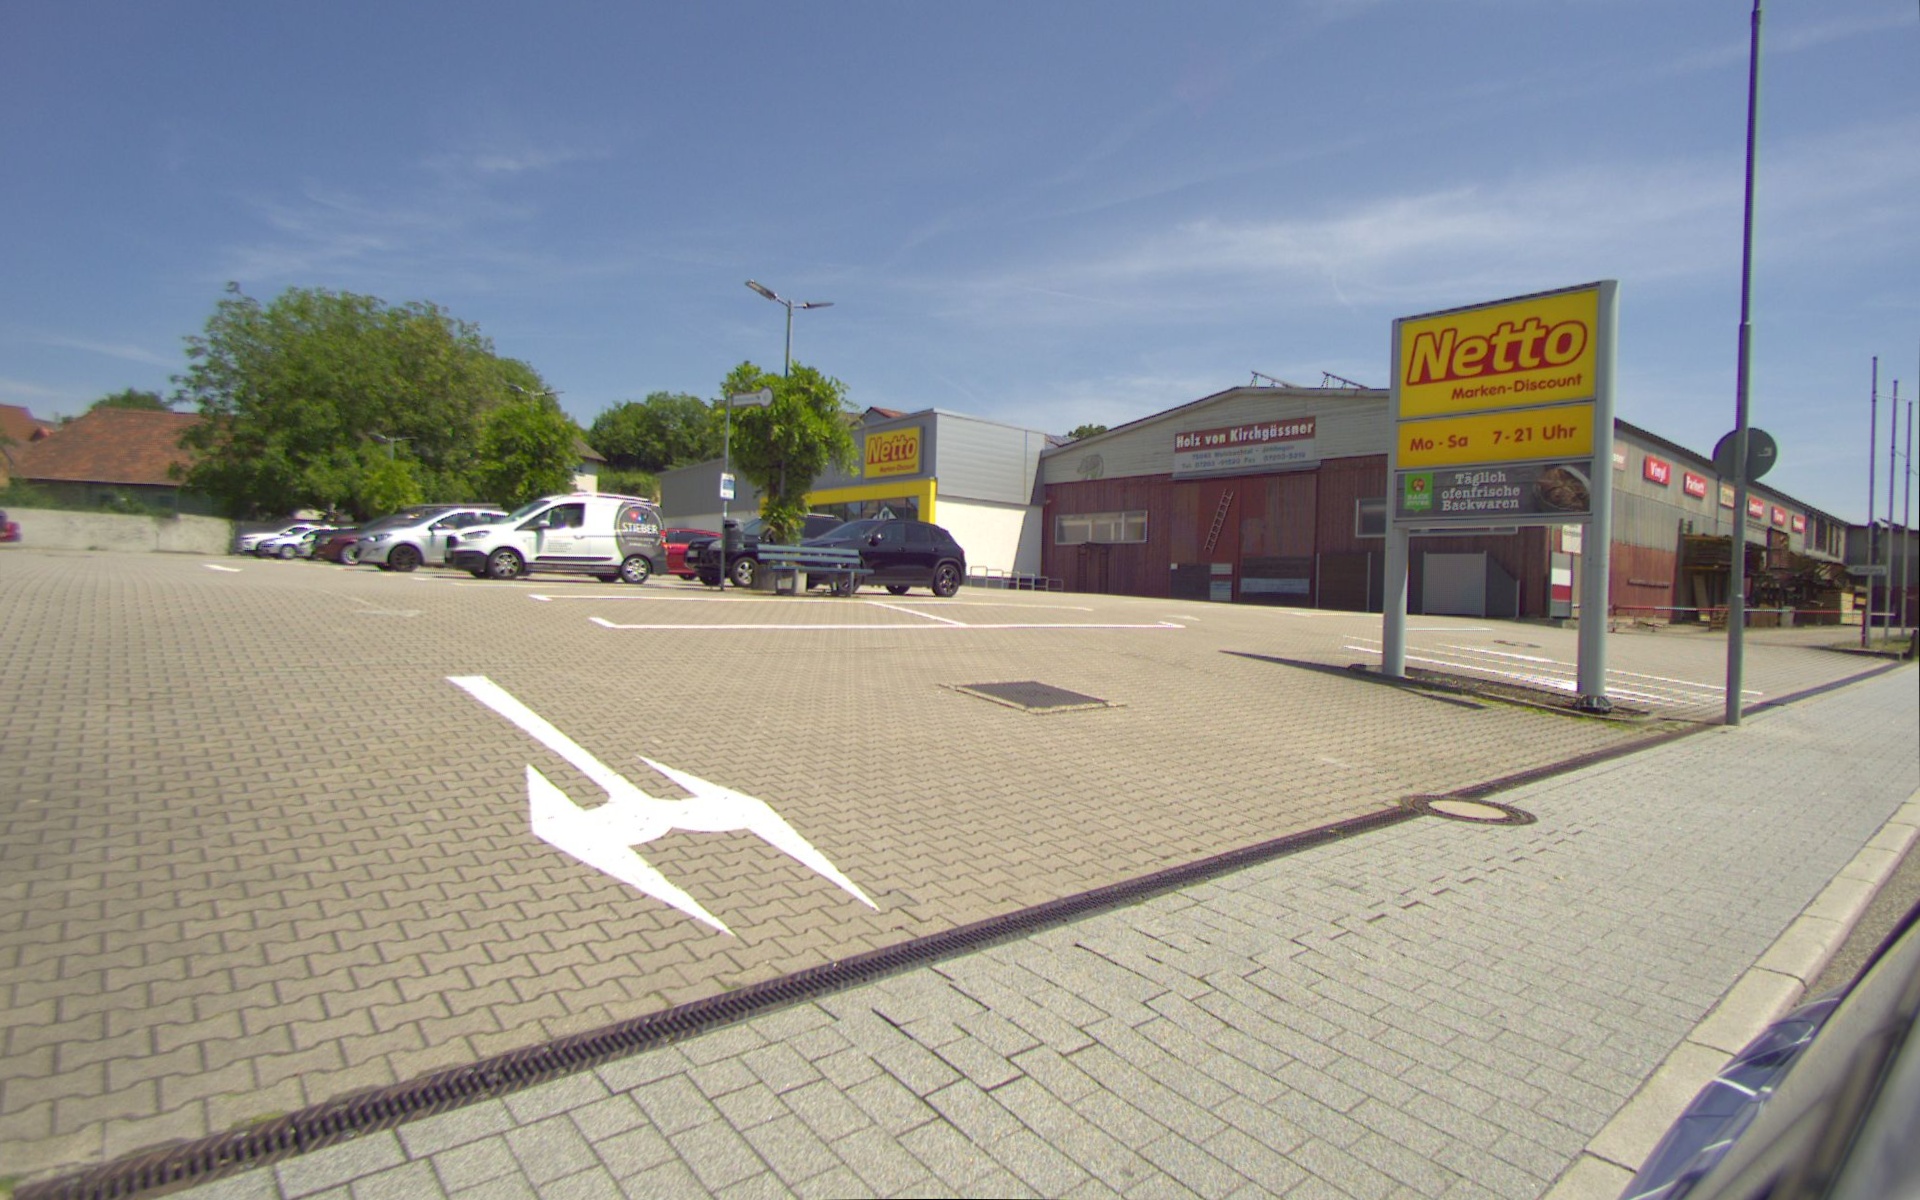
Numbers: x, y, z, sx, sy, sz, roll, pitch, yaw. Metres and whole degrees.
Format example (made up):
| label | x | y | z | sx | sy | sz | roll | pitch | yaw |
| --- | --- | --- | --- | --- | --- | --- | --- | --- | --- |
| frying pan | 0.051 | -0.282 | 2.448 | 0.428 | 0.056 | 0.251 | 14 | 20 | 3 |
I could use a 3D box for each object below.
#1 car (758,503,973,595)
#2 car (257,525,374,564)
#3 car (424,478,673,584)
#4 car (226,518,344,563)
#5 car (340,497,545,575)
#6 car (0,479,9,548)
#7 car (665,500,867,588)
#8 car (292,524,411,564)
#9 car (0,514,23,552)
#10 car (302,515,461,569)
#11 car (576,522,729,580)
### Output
| label | x | y | z | sx | sy | sz | roll | pitch | yaw |
| --- | --- | --- | --- | --- | --- | --- | --- | --- | --- |
| car | -1.884 | -1.001 | 21.053 | 4.140 | 1.615 | 1.910 | 2 | 1 | -45 |
| car | -27.619 | -2.374 | 43.444 | 4.017 | 1.430 | 1.644 | 1 | 4 | -41 |
| car | -7.919 | -1.292 | 19.646 | 4.057 | 1.768 | 1.912 | 1 | 4 | -42 |
| car | -31.157 | -2.729 | 46.798 | 4.310 | 1.806 | 1.832 | 0 | 4 | -43 |
| car | -11.678 | -1.421 | 22.967 | 3.815 | 1.527 | 1.621 | 0 | 4 | -43 |
| car | -30.029 | -2.568 | 27.980 | 5.336 | 1.972 | 2.141 | 1 | 4 | -41 |
| car | -4.365 | -1.255 | 23.047 | 4.057 | 1.768 | 1.912 | 1 | 4 | -42 |
| car | -25.314 | -2.314 | 42.137 | 4.017 | 1.430 | 1.644 | 1 | 4 | -41 |
| car | -39.307 | -2.697 | 39.410 | 4.017 | 1.431 | 1.643 | 1 | 0 | -41 |
| car | -17.786 | -1.773 | 31.207 | 4.017 | 1.430 | 1.644 | 1 | 4 | -41 |
| car | -8.711 | -1.377 | 28.796 | 3.813 | 1.430 | 1.644 | 1 | 4 | -41 |
